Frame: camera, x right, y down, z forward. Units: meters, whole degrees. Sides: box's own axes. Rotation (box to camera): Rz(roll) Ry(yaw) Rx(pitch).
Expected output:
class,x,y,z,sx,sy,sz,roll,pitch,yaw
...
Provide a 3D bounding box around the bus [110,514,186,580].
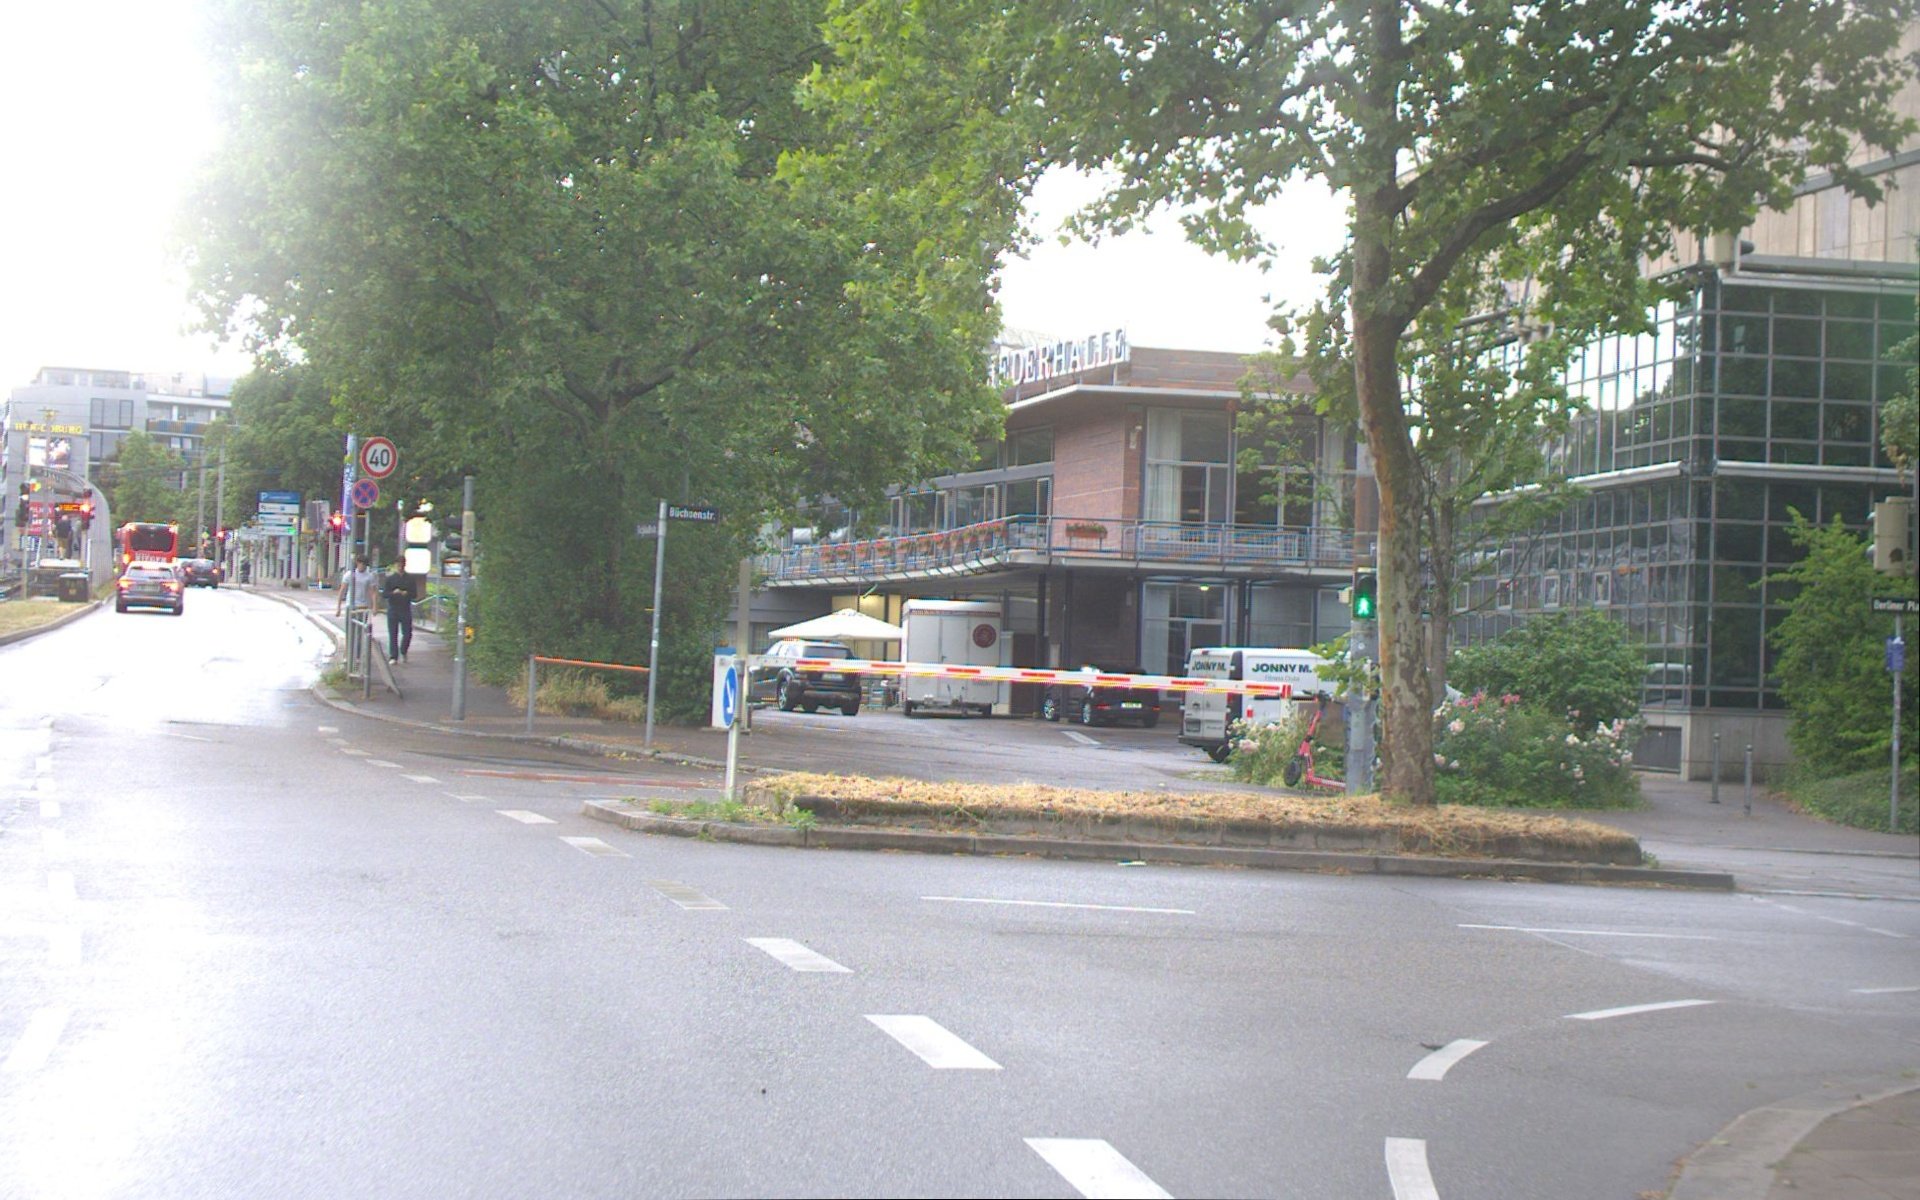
class,x,y,z,sx,sy,sz,roll,pitch,yaw
bus,-40.727,-2.593,172.520,3.589,3.160,10.423,0,0,-13

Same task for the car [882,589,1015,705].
class,x,y,z,sx,sy,sz,roll,pitch,yaw
car,-0.356,1.147,87.546,2.731,2.686,6.923,3,0,-5

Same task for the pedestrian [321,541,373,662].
class,x,y,z,sx,sy,sz,roll,pitch,yaw
pedestrian,-10.323,0.018,57.903,0.814,2.007,1.077,0,0,-8

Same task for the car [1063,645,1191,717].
class,x,y,z,sx,sy,sz,roll,pitch,yaw
car,4.109,1.985,85.274,2.019,1.546,4.351,3,0,-13

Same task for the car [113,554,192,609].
class,x,y,z,sx,sy,sz,roll,pitch,yaw
car,-22.602,-0.519,96.346,1.993,1.514,4.351,0,0,-11

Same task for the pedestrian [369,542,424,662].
class,x,y,z,sx,sy,sz,roll,pitch,yaw
pedestrian,-9.534,0.037,58.198,0.874,2.007,1.077,0,0,-8

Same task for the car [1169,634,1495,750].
class,x,y,z,sx,sy,sz,roll,pitch,yaw
car,6.324,1.562,58.358,5.198,1.725,1.875,3,0,-25

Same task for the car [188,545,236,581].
class,x,y,z,sx,sy,sz,roll,pitch,yaw
car,-38.640,-1.921,177.502,2.362,1.810,5.185,0,0,-13

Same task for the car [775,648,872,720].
class,x,y,z,sx,sy,sz,roll,pitch,yaw
car,-3.314,2.034,84.084,2.019,1.546,4.350,3,0,2
